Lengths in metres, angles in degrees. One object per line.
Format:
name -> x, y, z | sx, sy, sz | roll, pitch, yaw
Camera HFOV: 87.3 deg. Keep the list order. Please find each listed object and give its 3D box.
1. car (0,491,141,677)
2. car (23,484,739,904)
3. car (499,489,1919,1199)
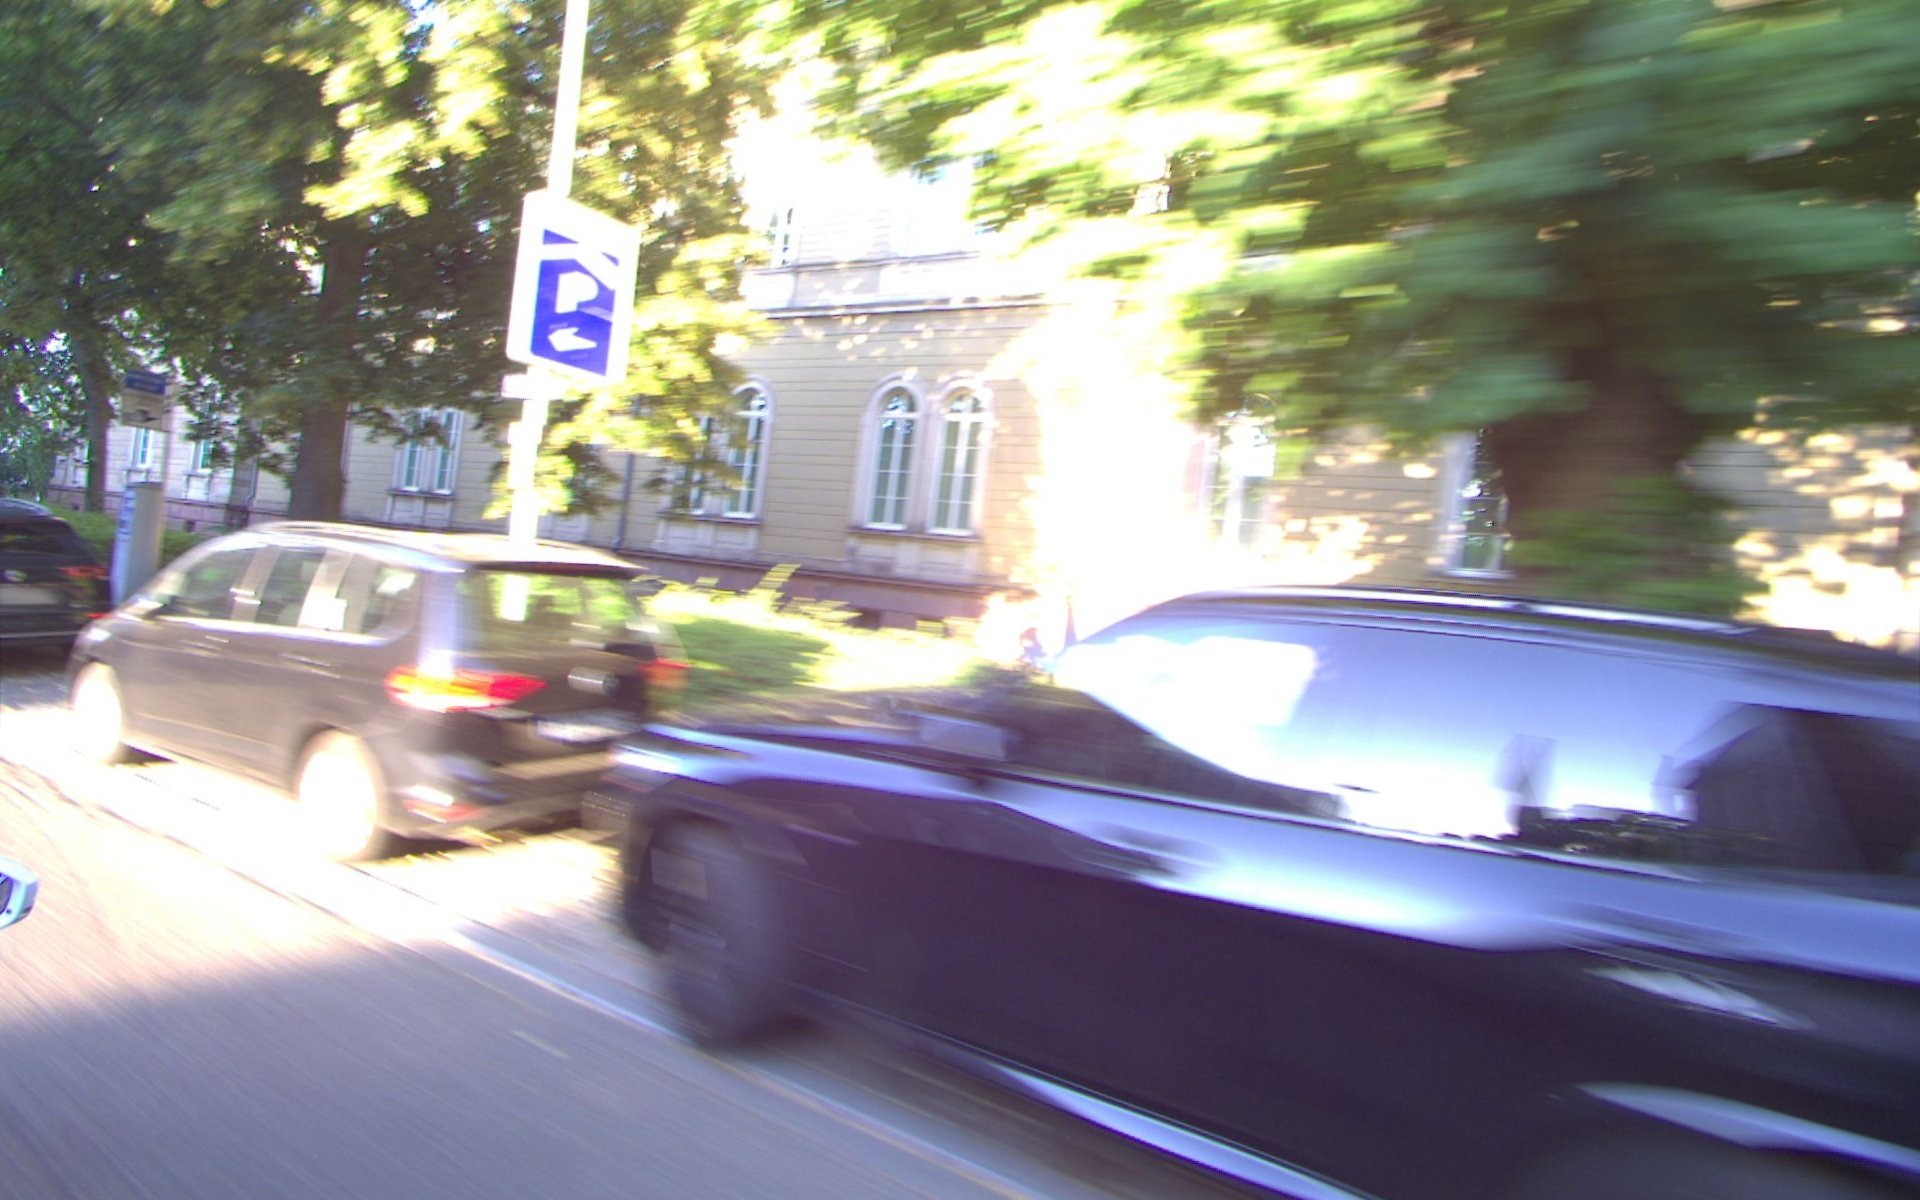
car -> -9.910, -0.314, 9.629 | 4.545, 1.555, 1.724 | 6, 3, 30
car -> -3.687, 0.340, 6.177 | 4.424, 1.702, 1.727 | 6, -1, 30
car -> 0.809, 0.745, 3.325 | 4.868, 1.835, 1.806 | 5, -1, 33
